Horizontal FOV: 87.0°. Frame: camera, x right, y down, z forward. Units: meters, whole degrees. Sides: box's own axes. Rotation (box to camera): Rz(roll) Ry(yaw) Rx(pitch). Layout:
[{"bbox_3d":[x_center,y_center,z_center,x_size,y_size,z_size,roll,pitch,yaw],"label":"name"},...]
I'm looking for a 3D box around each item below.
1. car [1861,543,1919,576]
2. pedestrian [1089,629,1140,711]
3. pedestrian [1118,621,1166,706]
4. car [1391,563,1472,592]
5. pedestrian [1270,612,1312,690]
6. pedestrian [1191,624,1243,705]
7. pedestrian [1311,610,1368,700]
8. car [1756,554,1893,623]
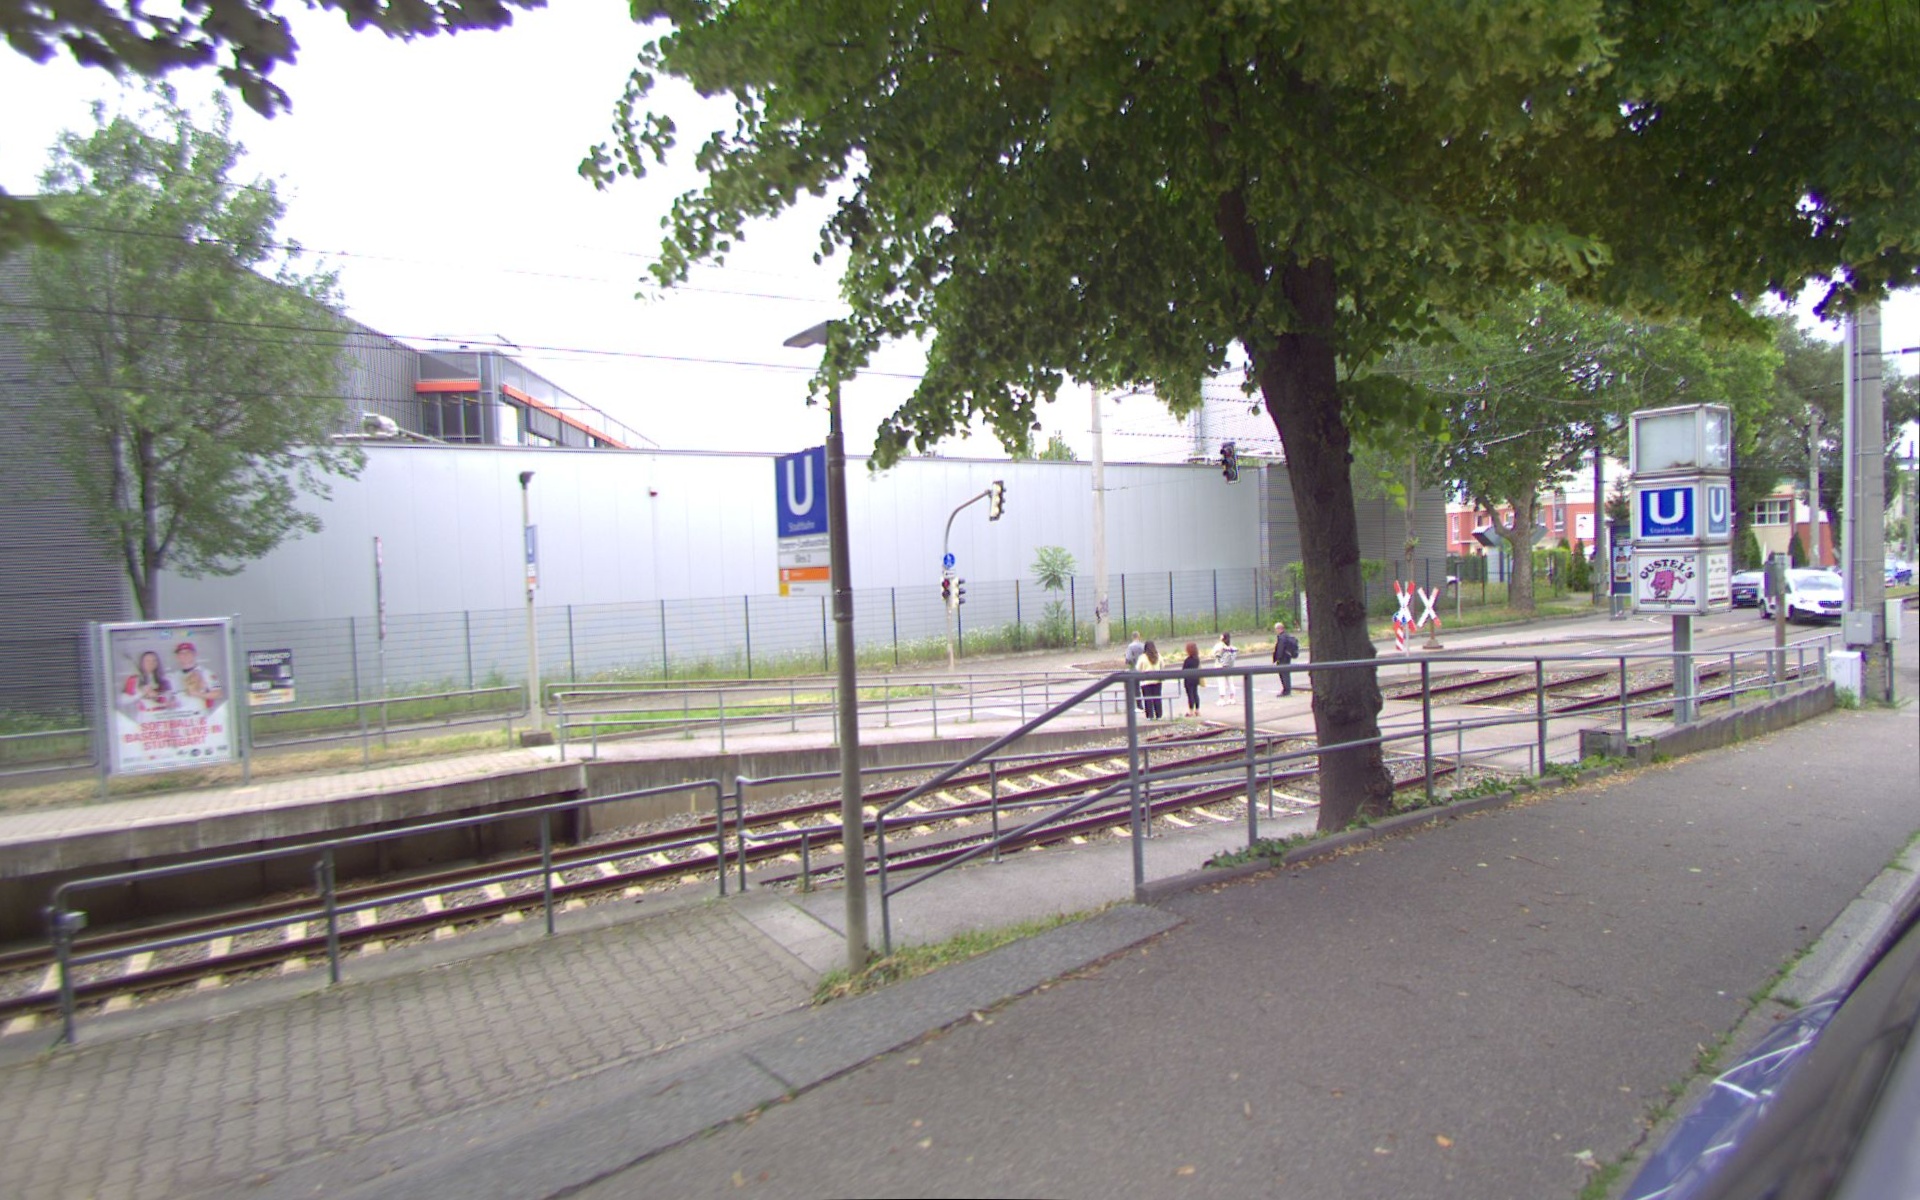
[{"bbox_3d":[52.503,-2.306,56.785,4.478,1.575,1.999,-5,1,-37],"label":"car"},{"bbox_3d":[3.330,1.496,21.831,0.723,1.686,0.682,-4,-1,-30],"label":"pedestrian"},{"bbox_3d":[3.988,1.382,22.195,0.723,1.780,0.552,-4,-1,-29],"label":"pedestrian"},{"bbox_3d":[31.334,-1.525,67.326,4.411,1.686,2.003,-3,2,-6],"label":"car"},{"bbox_3d":[7.525,1.150,23.017,0.726,1.686,0.679,-4,-1,13],"label":"pedestrian"},{"bbox_3d":[5.666,1.407,22.330,0.724,1.686,0.681,-4,-1,-36],"label":"pedestrian"},{"bbox_3d":[8.173,1.174,21.819,0.656,1.844,0.806,-4,-1,-15],"label":"pedestrian"},{"bbox_3d":[30.328,-0.461,35.718,1.975,2.026,5.006,-3,3,20],"label":"car"}]
